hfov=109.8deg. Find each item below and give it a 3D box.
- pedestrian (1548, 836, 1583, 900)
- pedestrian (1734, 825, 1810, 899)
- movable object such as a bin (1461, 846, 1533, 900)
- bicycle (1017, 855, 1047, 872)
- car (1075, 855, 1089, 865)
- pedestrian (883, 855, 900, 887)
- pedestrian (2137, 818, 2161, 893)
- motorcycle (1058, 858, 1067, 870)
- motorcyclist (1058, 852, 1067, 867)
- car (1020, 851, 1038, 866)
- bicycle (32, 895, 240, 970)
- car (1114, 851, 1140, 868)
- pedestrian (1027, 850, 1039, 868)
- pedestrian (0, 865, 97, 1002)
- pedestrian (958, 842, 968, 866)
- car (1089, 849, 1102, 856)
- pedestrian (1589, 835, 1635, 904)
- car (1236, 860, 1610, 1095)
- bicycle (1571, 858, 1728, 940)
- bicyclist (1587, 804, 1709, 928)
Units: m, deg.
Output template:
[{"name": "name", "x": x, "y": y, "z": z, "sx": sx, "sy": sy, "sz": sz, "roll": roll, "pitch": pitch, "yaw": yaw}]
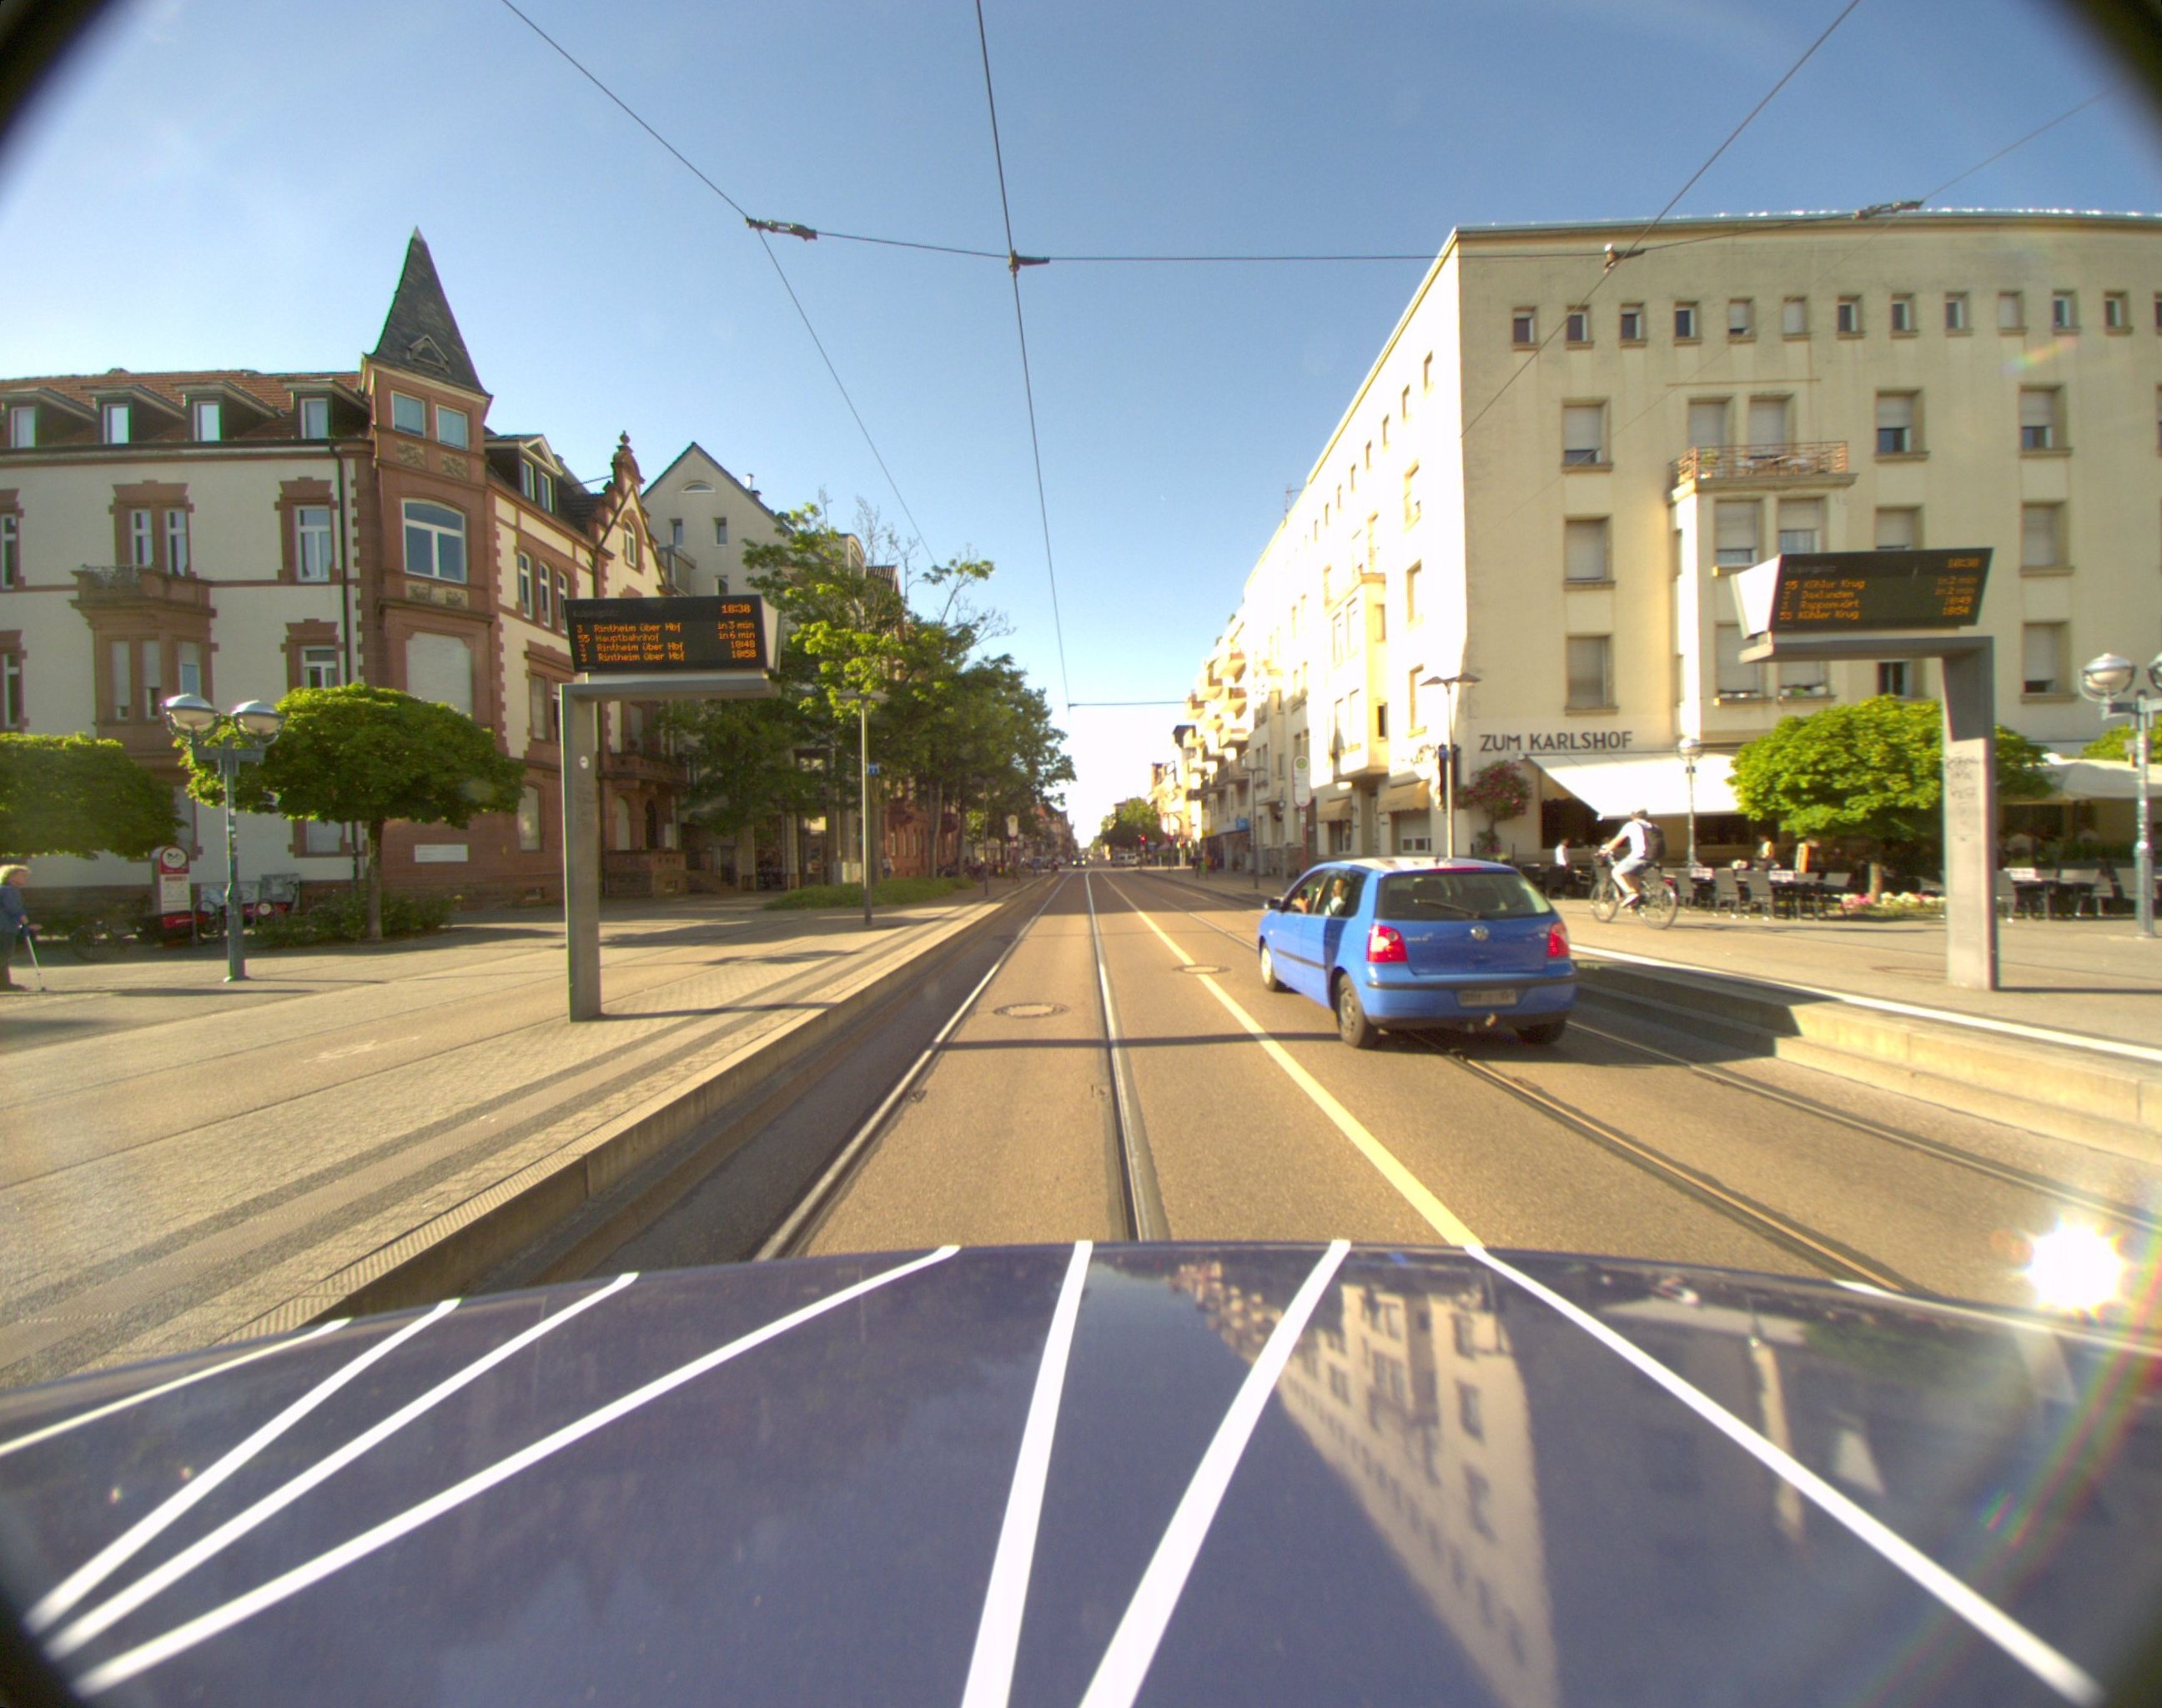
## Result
[{"name": "pedestrian", "x": 12.571, "y": 0.374, "z": 19.734, "sx": 0.672, "sy": 1.634, "sz": 0.752, "roll": -1, "pitch": -2, "yaw": 27}, {"name": "pedestrian", "x": 15.973, "y": 0.175, "z": 17.575, "sx": 1.066, "sy": 1.635, "sz": 0.756, "roll": -1, "pitch": 1, "yaw": -4}, {"name": "movable object such as a bin", "x": 11.170, "y": 0.491, "z": 20.444, "sx": 1.319, "sy": 1.392, "sz": 1.128, "roll": -1, "pitch": 1, "yaw": -1}, {"name": "bicycle", "x": -5.516, "y": 1.050, "z": 85.195, "sx": 3.109, "sy": 1.719, "sz": 1.227, "roll": -1, "pitch": 1, "yaw": -16}, {"name": "car", "x": 0.135, "y": 0.852, "z": 107.949, "sx": 1.998, "sy": 1.318, "sz": 3.863, "roll": -1, "pitch": 0, "yaw": 1}, {"name": "pedestrian", "x": -10.696, "y": 0.944, "z": 42.905, "sx": 0.742, "sy": 1.725, "sz": 0.877, "roll": -2, "pitch": 1, "yaw": -6}, {"name": "pedestrian", "x": 26.103, "y": 0.034, "z": 18.379, "sx": 0.578, "sy": 1.813, "sz": 0.647, "roll": -2, "pitch": 1, "yaw": -36}, {"name": "motorcycle", "x": -1.838, "y": 1.004, "z": 76.405, "sx": 0.799, "sy": 1.090, "sz": 2.429, "roll": -1, "pitch": 0, "yaw": 1}, {"name": "motorcyclist", "x": -1.857, "y": 0.542, "z": 76.324, "sx": 0.821, "sy": 1.466, "sz": 1.114, "roll": -1, "pitch": 1, "yaw": 1}, {"name": "car", "x": -7.264, "y": 0.635, "z": 106.228, "sx": 1.998, "sy": 2.002, "sz": 4.001, "roll": -1, "pitch": 0, "yaw": 4}, {"name": "bicycle", "x": -18.181, "y": 1.455, "z": 14.777, "sx": 0.790, "sy": 1.062, "sz": 2.804, "roll": -2, "pitch": 2, "yaw": -8}, {"name": "car", "x": 5.965, "y": 0.666, "z": 99.006, "sx": 1.880, "sy": 2.105, "sz": 3.993, "roll": -2, "pitch": 1, "yaw": -19}, {"name": "pedestrian", "x": -5.389, "y": 0.584, "z": 85.246, "sx": 1.022, "sy": 2.002, "sz": 1.176, "roll": -2, "pitch": 1, "yaw": -13}, {"name": "pedestrian", "x": -13.717, "y": 0.992, "z": 9.656, "sx": 1.070, "sy": 1.659, "sz": 0.956, "roll": -2, "pitch": 1, "yaw": -12}, {"name": "pedestrian", "x": -9.960, "y": 0.023, "z": 64.260, "sx": 0.653, "sy": 2.002, "sz": 0.559, "roll": -1, "pitch": 1, "yaw": 3}, {"name": "car", "x": 4.351, "y": -0.492, "z": 230.119, "sx": 3.996, "sy": 2.002, "sz": 2.000, "roll": -1, "pitch": 1, "yaw": 1}, {"name": "pedestrian", "x": 12.878, "y": 0.396, "z": 18.452, "sx": 0.672, "sy": 1.634, "sz": 0.678, "roll": -1, "pitch": -2, "yaw": 13}, {"name": "car", "x": 2.715, "y": 0.850, "z": 7.120, "sx": 1.671, "sy": 1.479, "sz": 4.000, "roll": -2, "pitch": 0, "yaw": 0}, {"name": "bicycle", "x": 8.628, "y": 0.640, "z": 11.668, "sx": 0.714, "sy": 1.119, "sz": 2.034, "roll": -2, "pitch": 0, "yaw": -7}, {"name": "bicyclist", "x": 8.639, "y": 0.165, "z": 11.633, "sx": 1.007, "sy": 1.783, "sz": 1.094, "roll": -2, "pitch": 1, "yaw": -8}]
